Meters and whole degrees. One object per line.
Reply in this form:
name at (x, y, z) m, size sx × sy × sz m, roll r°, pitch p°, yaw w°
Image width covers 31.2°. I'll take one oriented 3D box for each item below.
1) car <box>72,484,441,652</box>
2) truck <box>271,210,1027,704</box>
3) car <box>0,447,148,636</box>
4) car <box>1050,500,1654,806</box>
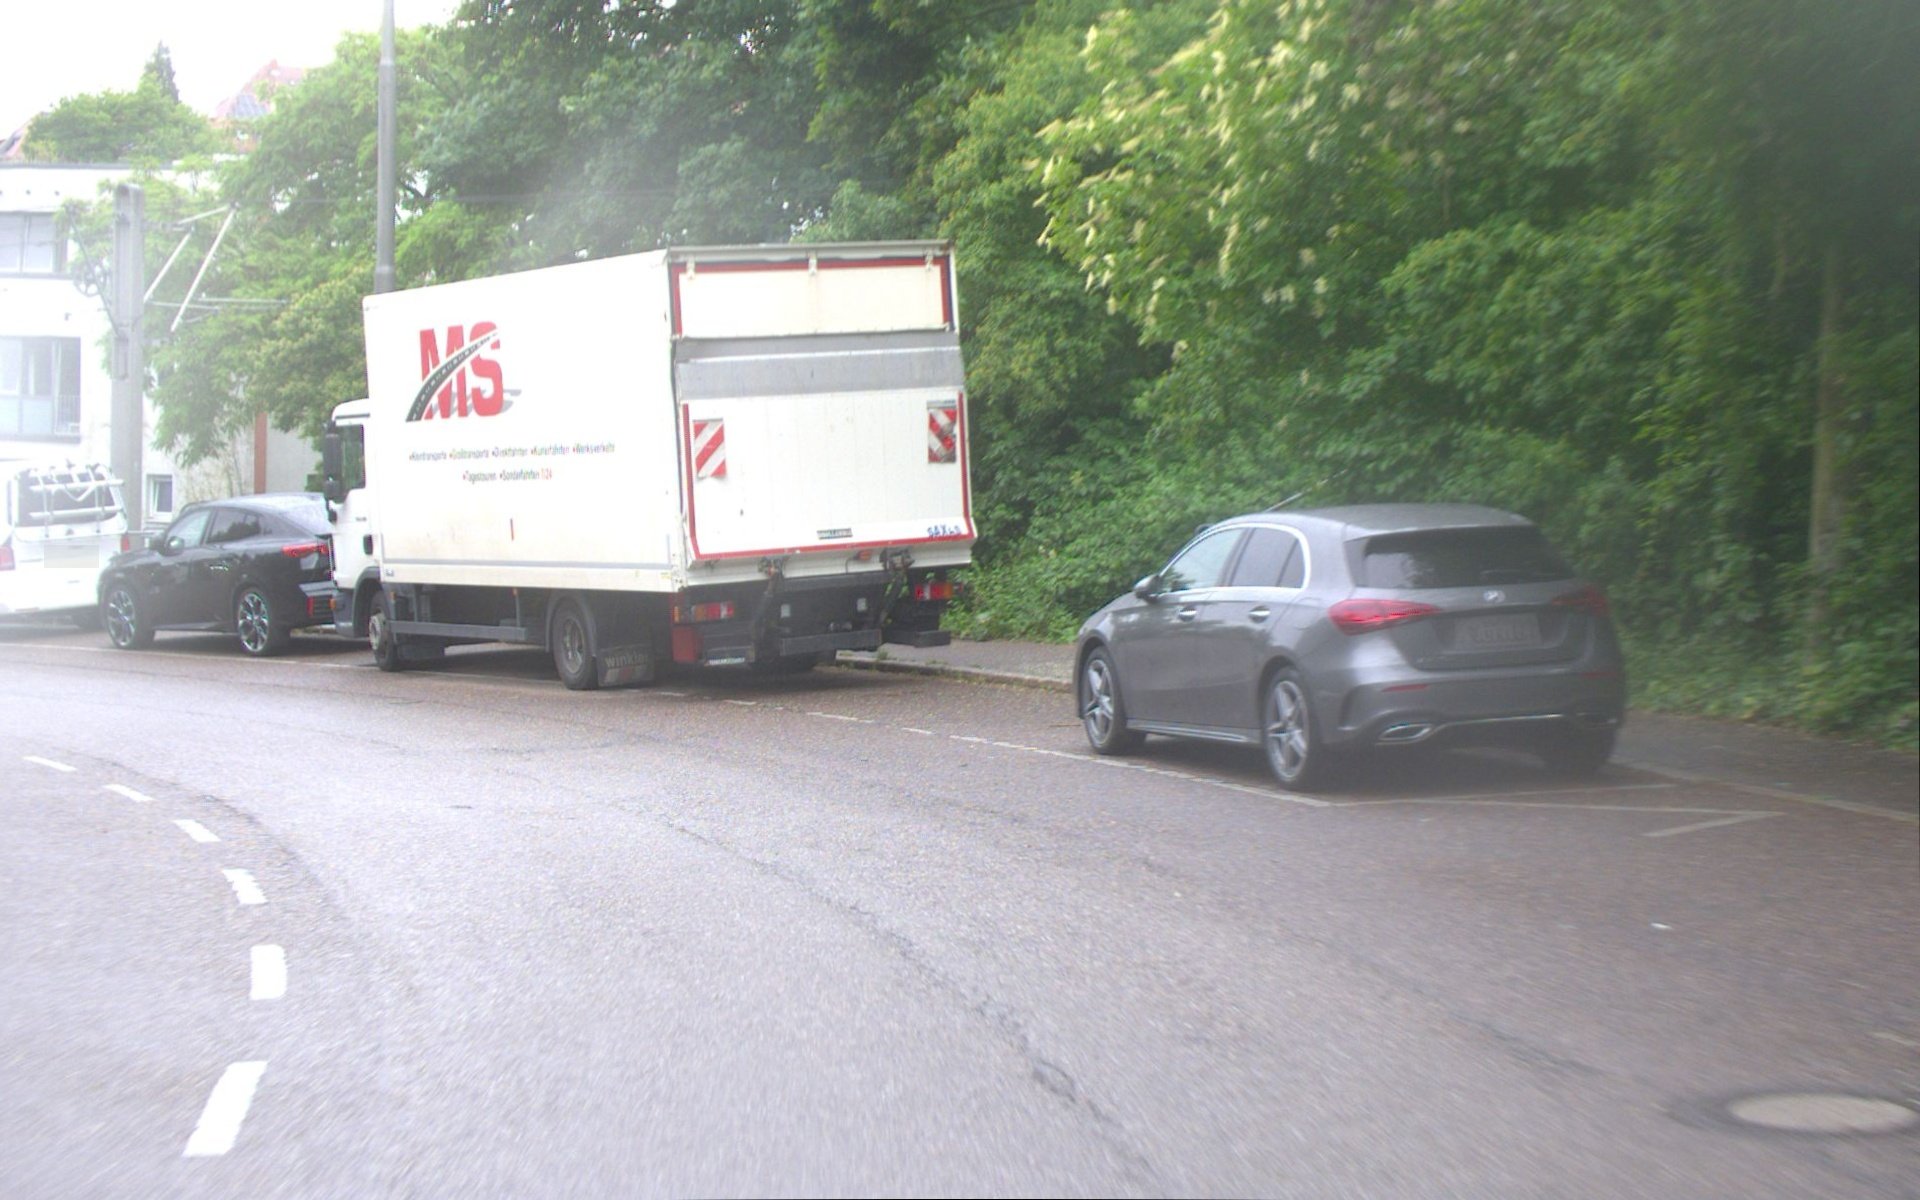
car at (-7.358, -0.357, 35.709) m, size 1.719 × 1.550 × 4.275 m, roll -6°, pitch 5°, yaw -42°
truck at (-2.988, -1.217, 29.673) m, size 3.007 × 3.561 × 8.337 m, roll -6°, pitch 4°, yaw -30°
car at (-11.760, -0.688, 40.305) m, size 4.687 × 2.006 × 1.879 m, roll 0°, pitch 5°, yaw 41°
car at (2.028, 0.197, 19.063) m, size 1.720 × 1.439 × 4.126 m, roll -2°, pitch 2°, yaw -18°
